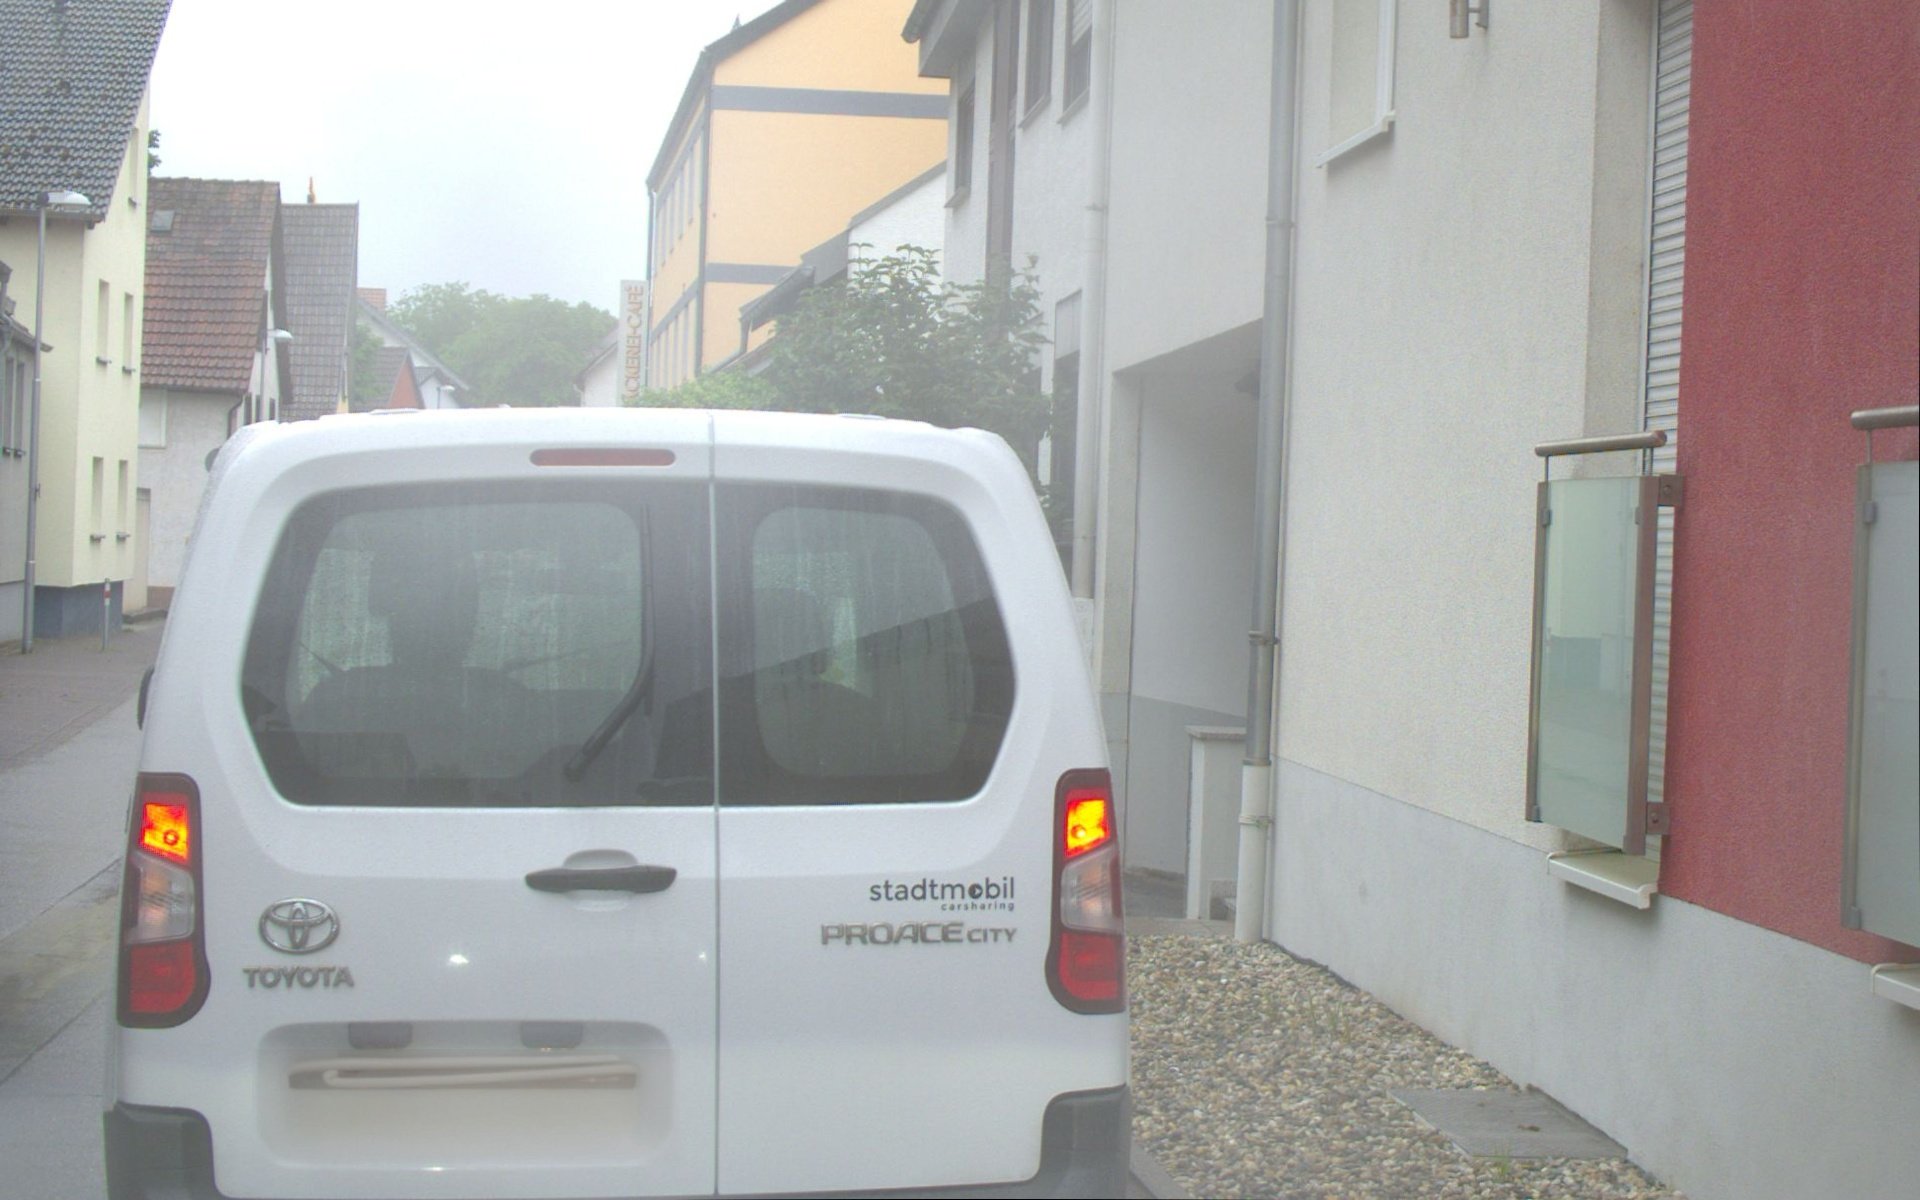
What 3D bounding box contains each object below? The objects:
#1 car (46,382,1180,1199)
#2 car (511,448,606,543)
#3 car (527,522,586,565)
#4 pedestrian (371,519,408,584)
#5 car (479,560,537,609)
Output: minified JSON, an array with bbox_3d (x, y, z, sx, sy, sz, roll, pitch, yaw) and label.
[{"bbox_3d":[-0.843,0.537,7.429,1.774,1.774,4.001,1,1,-9],"label":"car"},{"bbox_3d":[-8.886,-2.286,76.365,1.993,2.007,4.001,1,1,-6],"label":"car"},{"bbox_3d":[-13.700,-1.911,116.553,1.779,1.390,4.001,1,1,-10],"label":"car"},{"bbox_3d":[-16.920,-1.437,102.039,1.050,1.886,0.877,1,0,-9],"label":"pedestrian"},{"bbox_3d":[-13.846,-0.485,105.182,1.560,1.472,4.001,1,1,-10],"label":"car"}]
